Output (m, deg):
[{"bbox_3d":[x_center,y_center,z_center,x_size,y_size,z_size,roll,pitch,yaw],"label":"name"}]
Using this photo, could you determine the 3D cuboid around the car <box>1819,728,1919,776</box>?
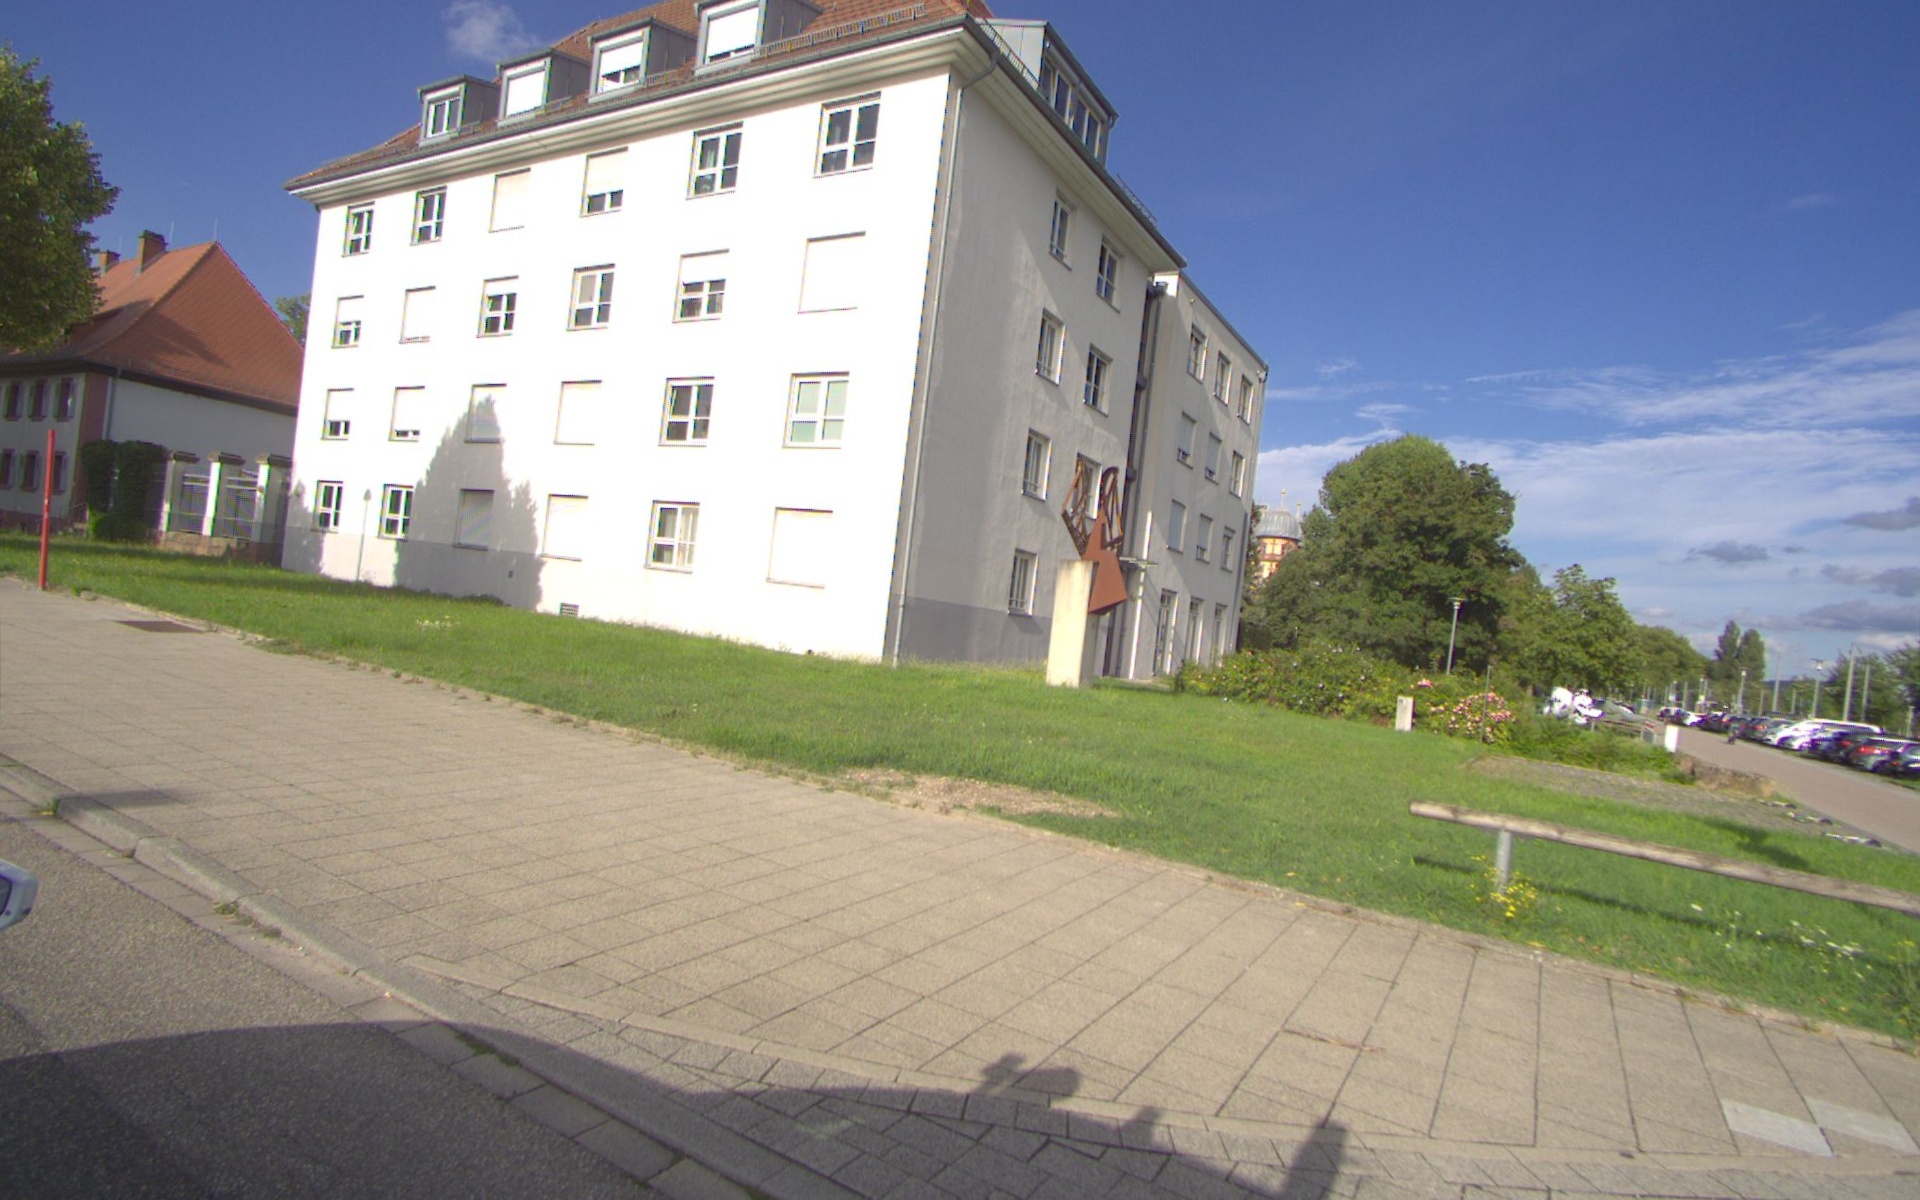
[{"bbox_3d":[39.571,6.532,43.018,3.932,1.542,1.714,6,-2,30],"label":"car"}]

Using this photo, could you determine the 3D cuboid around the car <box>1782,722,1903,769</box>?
[{"bbox_3d":[42.597,7.005,48.682,3.931,1.590,1.998,6,-1,28],"label":"car"}]

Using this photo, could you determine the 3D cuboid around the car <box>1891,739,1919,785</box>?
[{"bbox_3d":[36.107,6.038,35.771,3.932,1.542,1.998,6,-2,30],"label":"car"}]

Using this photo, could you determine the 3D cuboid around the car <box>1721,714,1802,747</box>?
[{"bbox_3d":[55.350,9.018,69.580,3.931,1.590,1.998,6,-1,28],"label":"car"}]

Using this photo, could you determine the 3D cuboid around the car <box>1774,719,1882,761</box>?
[{"bbox_3d":[46.943,7.547,54.517,3.931,1.590,1.998,6,-1,28],"label":"car"}]

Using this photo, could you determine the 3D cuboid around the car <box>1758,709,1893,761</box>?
[{"bbox_3d":[49.067,7.635,57.215,5.337,2.074,1.998,6,-1,28],"label":"car"}]

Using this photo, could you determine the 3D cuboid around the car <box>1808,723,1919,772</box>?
[{"bbox_3d":[41.460,6.694,45.755,3.931,1.590,1.998,6,-1,28],"label":"car"}]

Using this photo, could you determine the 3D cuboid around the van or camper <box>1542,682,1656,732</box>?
[{"bbox_3d":[27.484,4.595,43.318,3.938,1.592,1.995,5,-2,35],"label":"van or camper"}]

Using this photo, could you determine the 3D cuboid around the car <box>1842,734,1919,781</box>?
[{"bbox_3d":[38.758,6.507,40.695,4.161,1.542,1.998,6,-2,30],"label":"car"}]

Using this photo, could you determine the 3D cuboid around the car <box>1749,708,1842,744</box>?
[{"bbox_3d":[51.345,7.738,61.898,3.931,1.590,1.998,6,-1,28],"label":"car"}]

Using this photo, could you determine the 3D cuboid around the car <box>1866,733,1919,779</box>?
[{"bbox_3d":[37.341,6.131,38.154,3.932,1.542,1.998,6,-2,30],"label":"car"}]

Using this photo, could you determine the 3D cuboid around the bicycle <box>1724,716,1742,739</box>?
[{"bbox_3d":[43.074,7.095,56.057,0.629,1.178,1.755,6,-2,36],"label":"bicycle"}]

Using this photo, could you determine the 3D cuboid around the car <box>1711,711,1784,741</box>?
[{"bbox_3d":[59.818,9.556,76.531,3.931,1.590,1.998,6,-1,28],"label":"car"}]
